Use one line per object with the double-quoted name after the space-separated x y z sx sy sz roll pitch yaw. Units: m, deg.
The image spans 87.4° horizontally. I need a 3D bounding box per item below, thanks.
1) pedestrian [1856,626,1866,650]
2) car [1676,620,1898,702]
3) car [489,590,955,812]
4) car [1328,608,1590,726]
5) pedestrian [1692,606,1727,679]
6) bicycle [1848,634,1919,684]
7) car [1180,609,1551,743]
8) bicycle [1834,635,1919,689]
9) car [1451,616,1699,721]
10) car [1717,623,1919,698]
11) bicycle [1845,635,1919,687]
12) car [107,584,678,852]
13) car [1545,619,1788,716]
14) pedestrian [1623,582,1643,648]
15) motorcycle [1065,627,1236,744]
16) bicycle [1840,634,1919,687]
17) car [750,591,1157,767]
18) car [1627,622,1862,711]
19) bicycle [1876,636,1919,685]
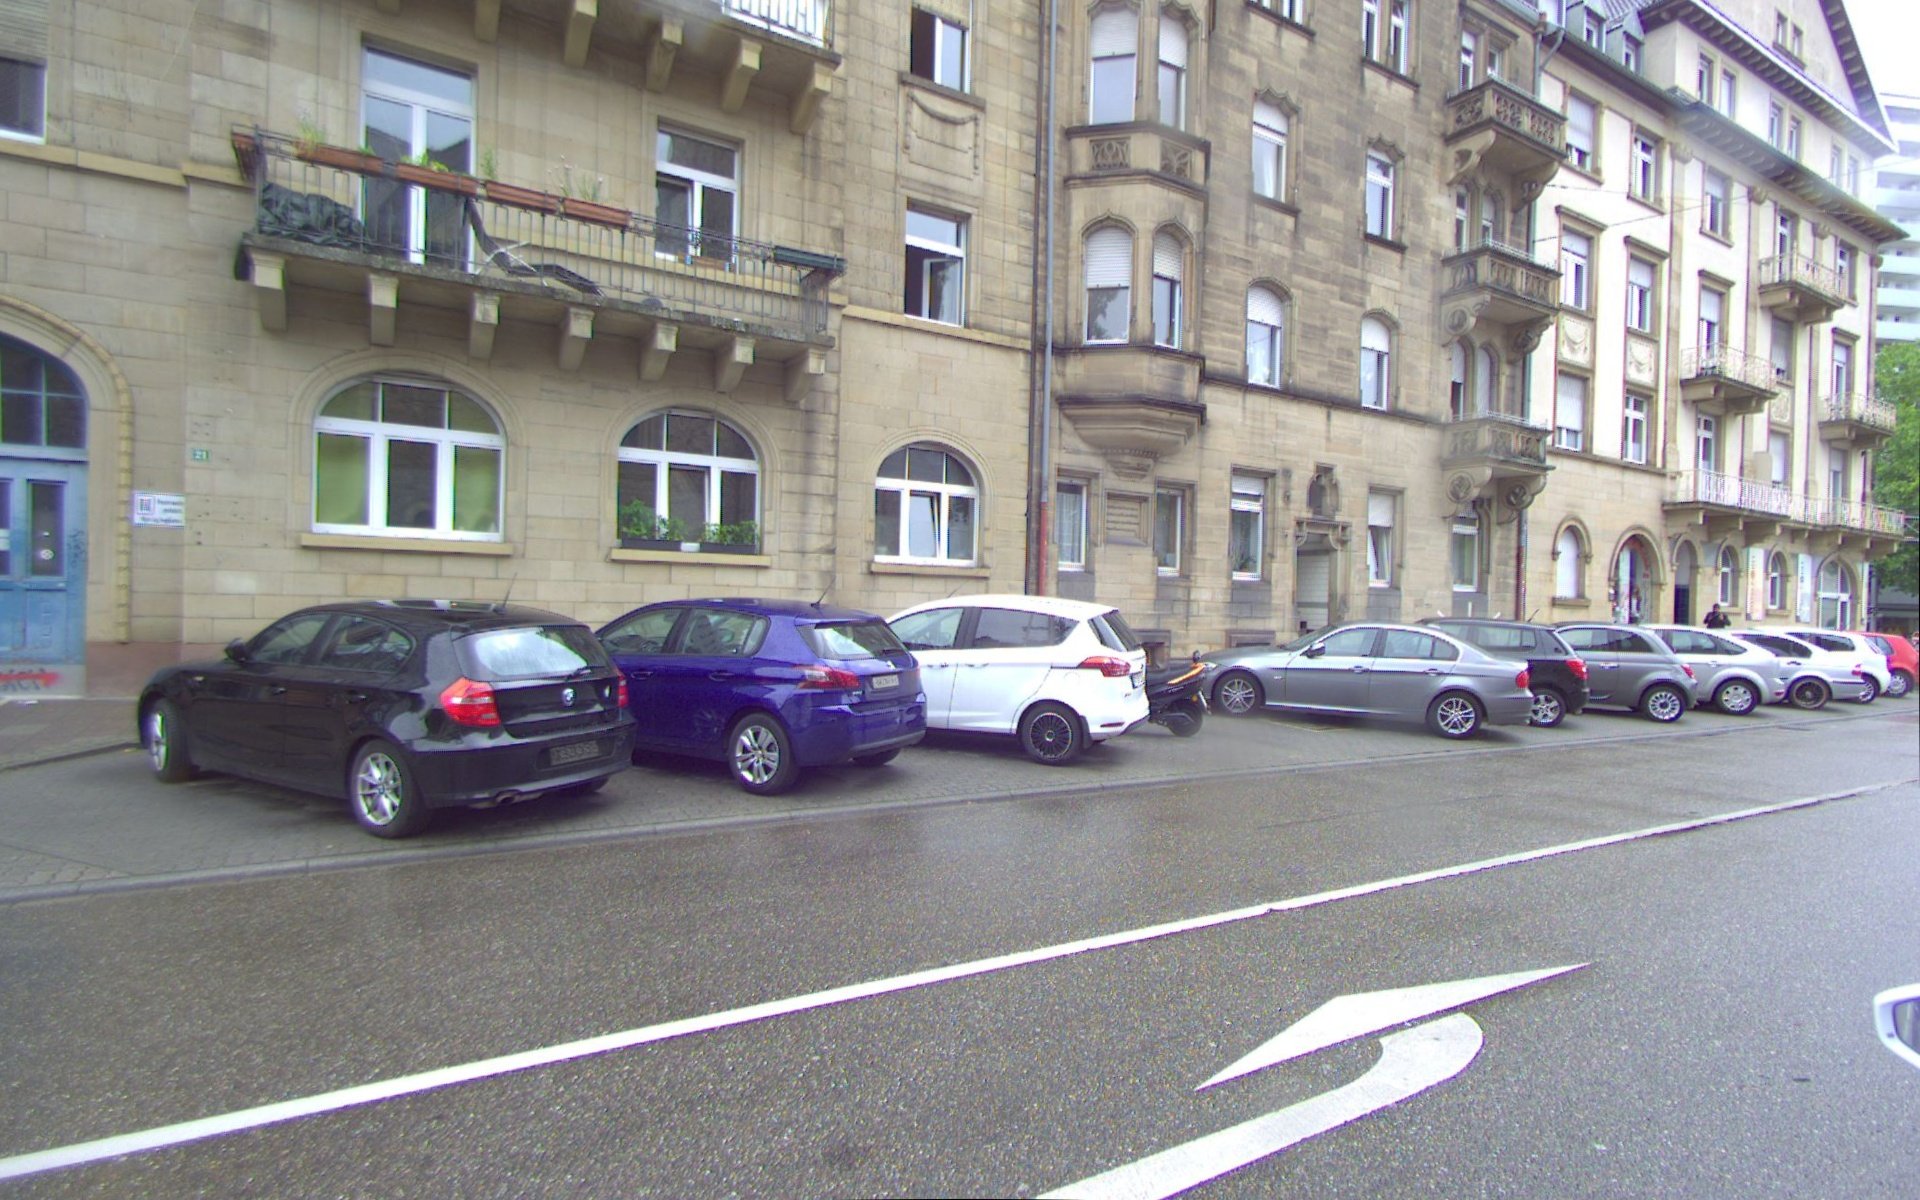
60.976 2.570 67.986 0.639 1.550 0.437 1 0 -45 "pedestrian"
17.935 1.280 21.971 3.337 1.578 1.705 1 0 21 "car"
-2.210 0.741 9.092 3.972 1.594 1.795 1 -1 31 "car"
7.656 0.974 15.746 3.484 1.619 1.605 1 0 21 "car"
21.557 1.213 28.880 0.647 2.040 0.565 1 0 -30 "pedestrian"
25.206 1.588 27.102 0.601 1.283 1.754 1 -1 -31 "bicycle"
5.396 0.953 13.872 4.457 1.565 1.689 1 0 17 "car"
23.484 1.550 25.606 0.516 1.283 1.754 1 -1 -31 "bicycle"
10.350 1.098 17.175 3.337 1.578 1.652 1 0 21 "car"
20.204 1.372 23.720 3.337 1.578 1.705 1 0 21 "car"
24.456 1.580 26.358 0.492 1.283 1.801 1 -1 -31 "bicycle"
-4.250 0.683 7.478 3.969 1.532 1.797 1 -1 27 "car"
12.949 1.186 18.656 3.337 1.578 1.705 1 0 21 "car"
19.113 0.436 28.518 0.343 1.846 0.364 2 -1 -32 "pedestrian"
2.246 0.969 11.866 1.837 1.177 0.633 3 1 23 "motorcycle"
23.940 1.555 25.899 0.492 1.283 1.801 1 -1 -31 "bicycle"
-0.034 0.742 10.739 3.964 1.576 1.799 1 -1 20 "car"
15.657 1.285 20.255 3.337 1.578 1.705 1 0 21 "car"
26.115 1.654 27.251 0.601 1.283 1.754 1 -1 -31 "bicycle"
